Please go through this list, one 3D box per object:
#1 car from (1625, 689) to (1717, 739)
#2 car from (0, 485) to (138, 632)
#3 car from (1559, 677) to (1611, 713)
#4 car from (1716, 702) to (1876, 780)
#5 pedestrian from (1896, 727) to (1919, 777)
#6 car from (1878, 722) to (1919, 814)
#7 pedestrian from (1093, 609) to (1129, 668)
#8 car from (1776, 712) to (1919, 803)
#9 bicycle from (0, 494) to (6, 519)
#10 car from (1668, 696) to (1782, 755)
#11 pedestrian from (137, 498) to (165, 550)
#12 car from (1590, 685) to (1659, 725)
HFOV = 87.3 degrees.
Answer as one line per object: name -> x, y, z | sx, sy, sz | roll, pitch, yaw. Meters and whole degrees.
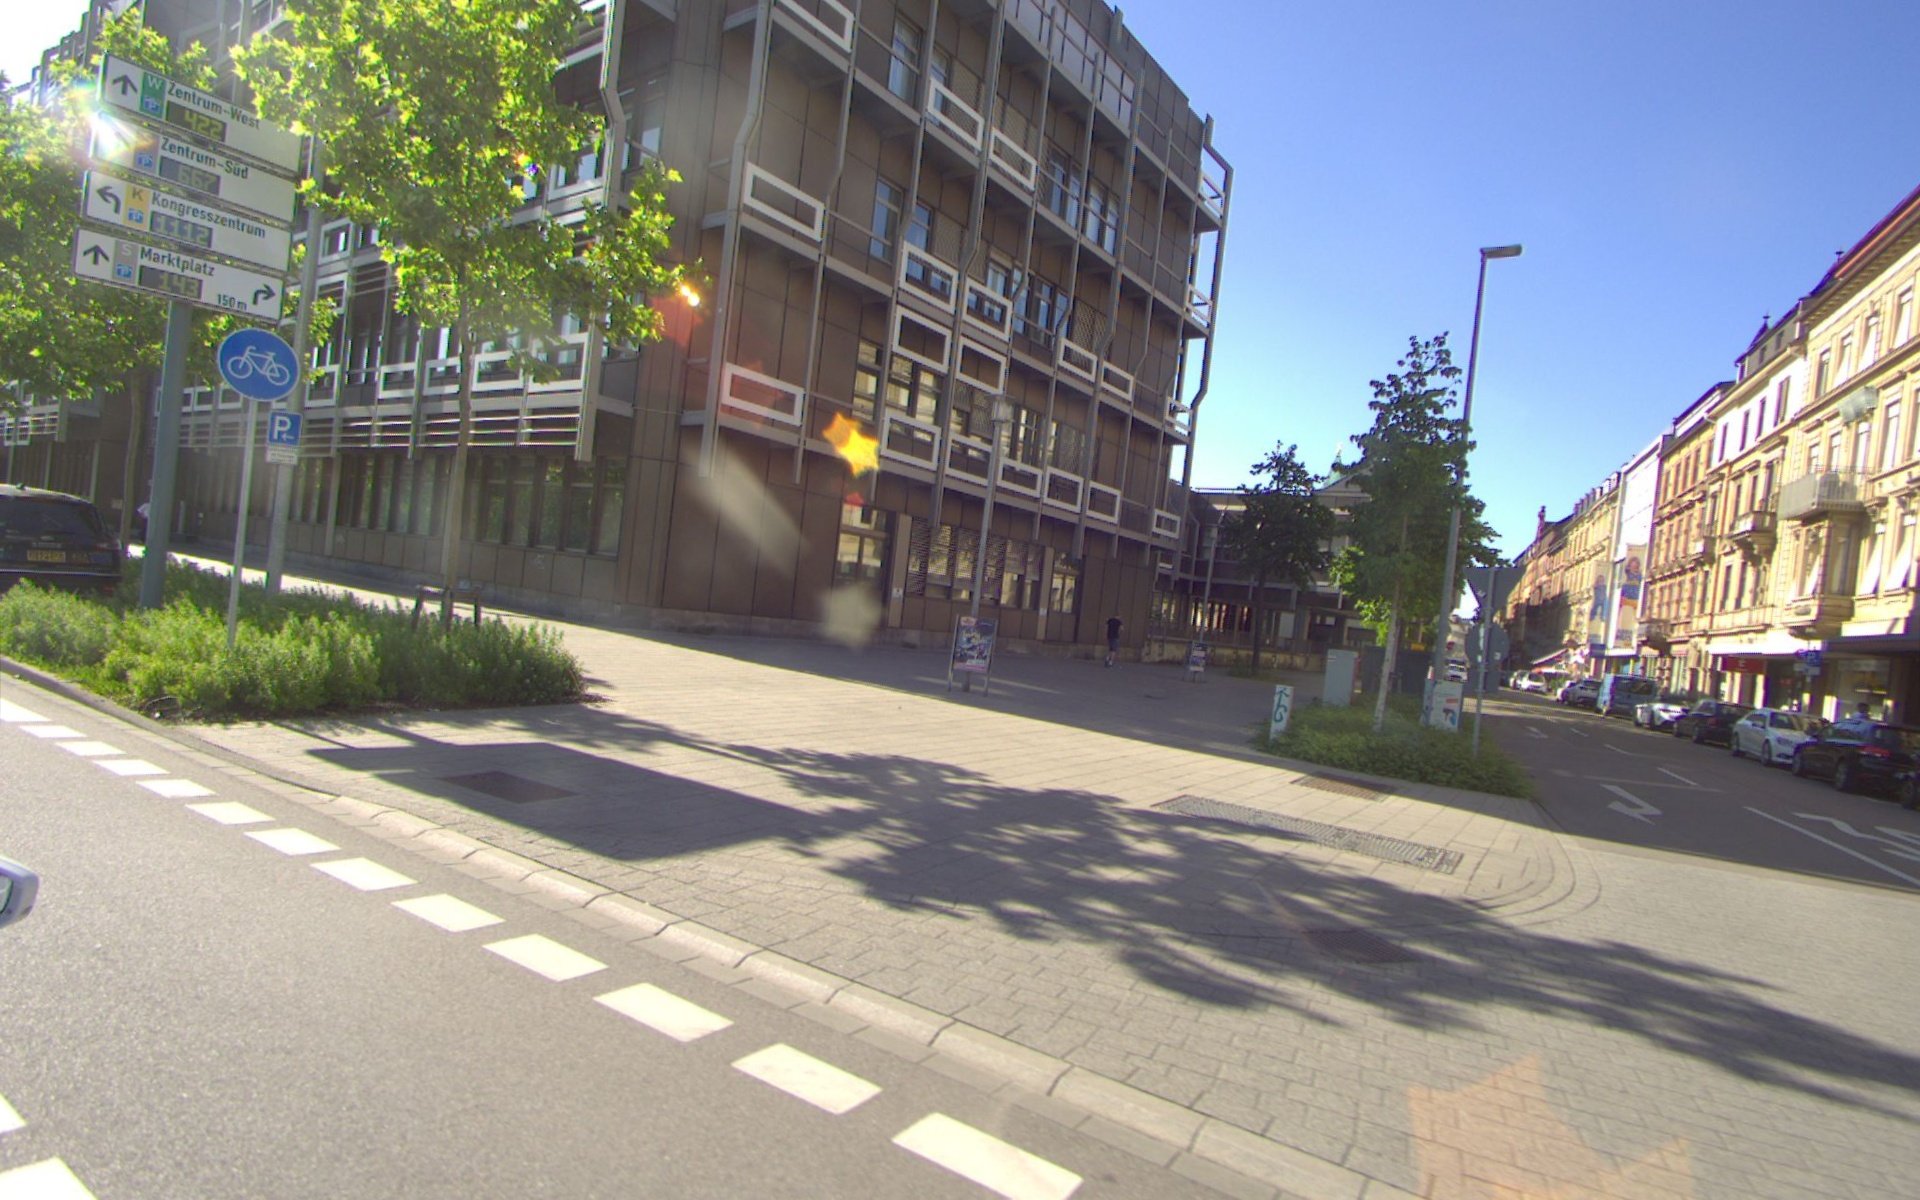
car -> 25.836, 4.107, 36.685 | 1.681, 1.370, 3.823 | 7, 0, 21
car -> -12.927, -0.702, 13.315 | 4.396, 1.679, 1.749 | 7, 0, 32
car -> 33.328, 5.043, 53.711 | 1.508, 1.574, 3.823 | 7, 0, 21
car -> 20.884, 3.467, 25.348 | 1.620, 1.370, 4.440 | 7, 0, 21
pedestrian -> 24.117, 3.843, 25.219 | 0.668, 1.184, 0.647 | 7, 0, 25
car -> 17.311, 3.025, 17.219 | 1.281, 1.513, 2.791 | 7, 0, 21
pedestrian -> 4.841, 1.238, 32.204 | 0.762, 1.805, 0.639 | 7, 1, 31
car -> 18.640, 3.207, 20.713 | 1.620, 1.370, 3.823 | 7, 0, 21
bicycle -> -38.603, -3.768, 39.323 | 0.420, 0.951, 1.855 | 7, 2, 39
car -> 23.835, 3.864, 31.491 | 1.681, 1.370, 3.823 | 7, 0, 21
pedestrian -> -26.464, -2.481, 32.897 | 0.663, 1.644, 0.510 | 8, 3, 37
car -> 29.917, 4.695, 45.405 | 1.681, 1.370, 3.823 | 7, 0, 21
